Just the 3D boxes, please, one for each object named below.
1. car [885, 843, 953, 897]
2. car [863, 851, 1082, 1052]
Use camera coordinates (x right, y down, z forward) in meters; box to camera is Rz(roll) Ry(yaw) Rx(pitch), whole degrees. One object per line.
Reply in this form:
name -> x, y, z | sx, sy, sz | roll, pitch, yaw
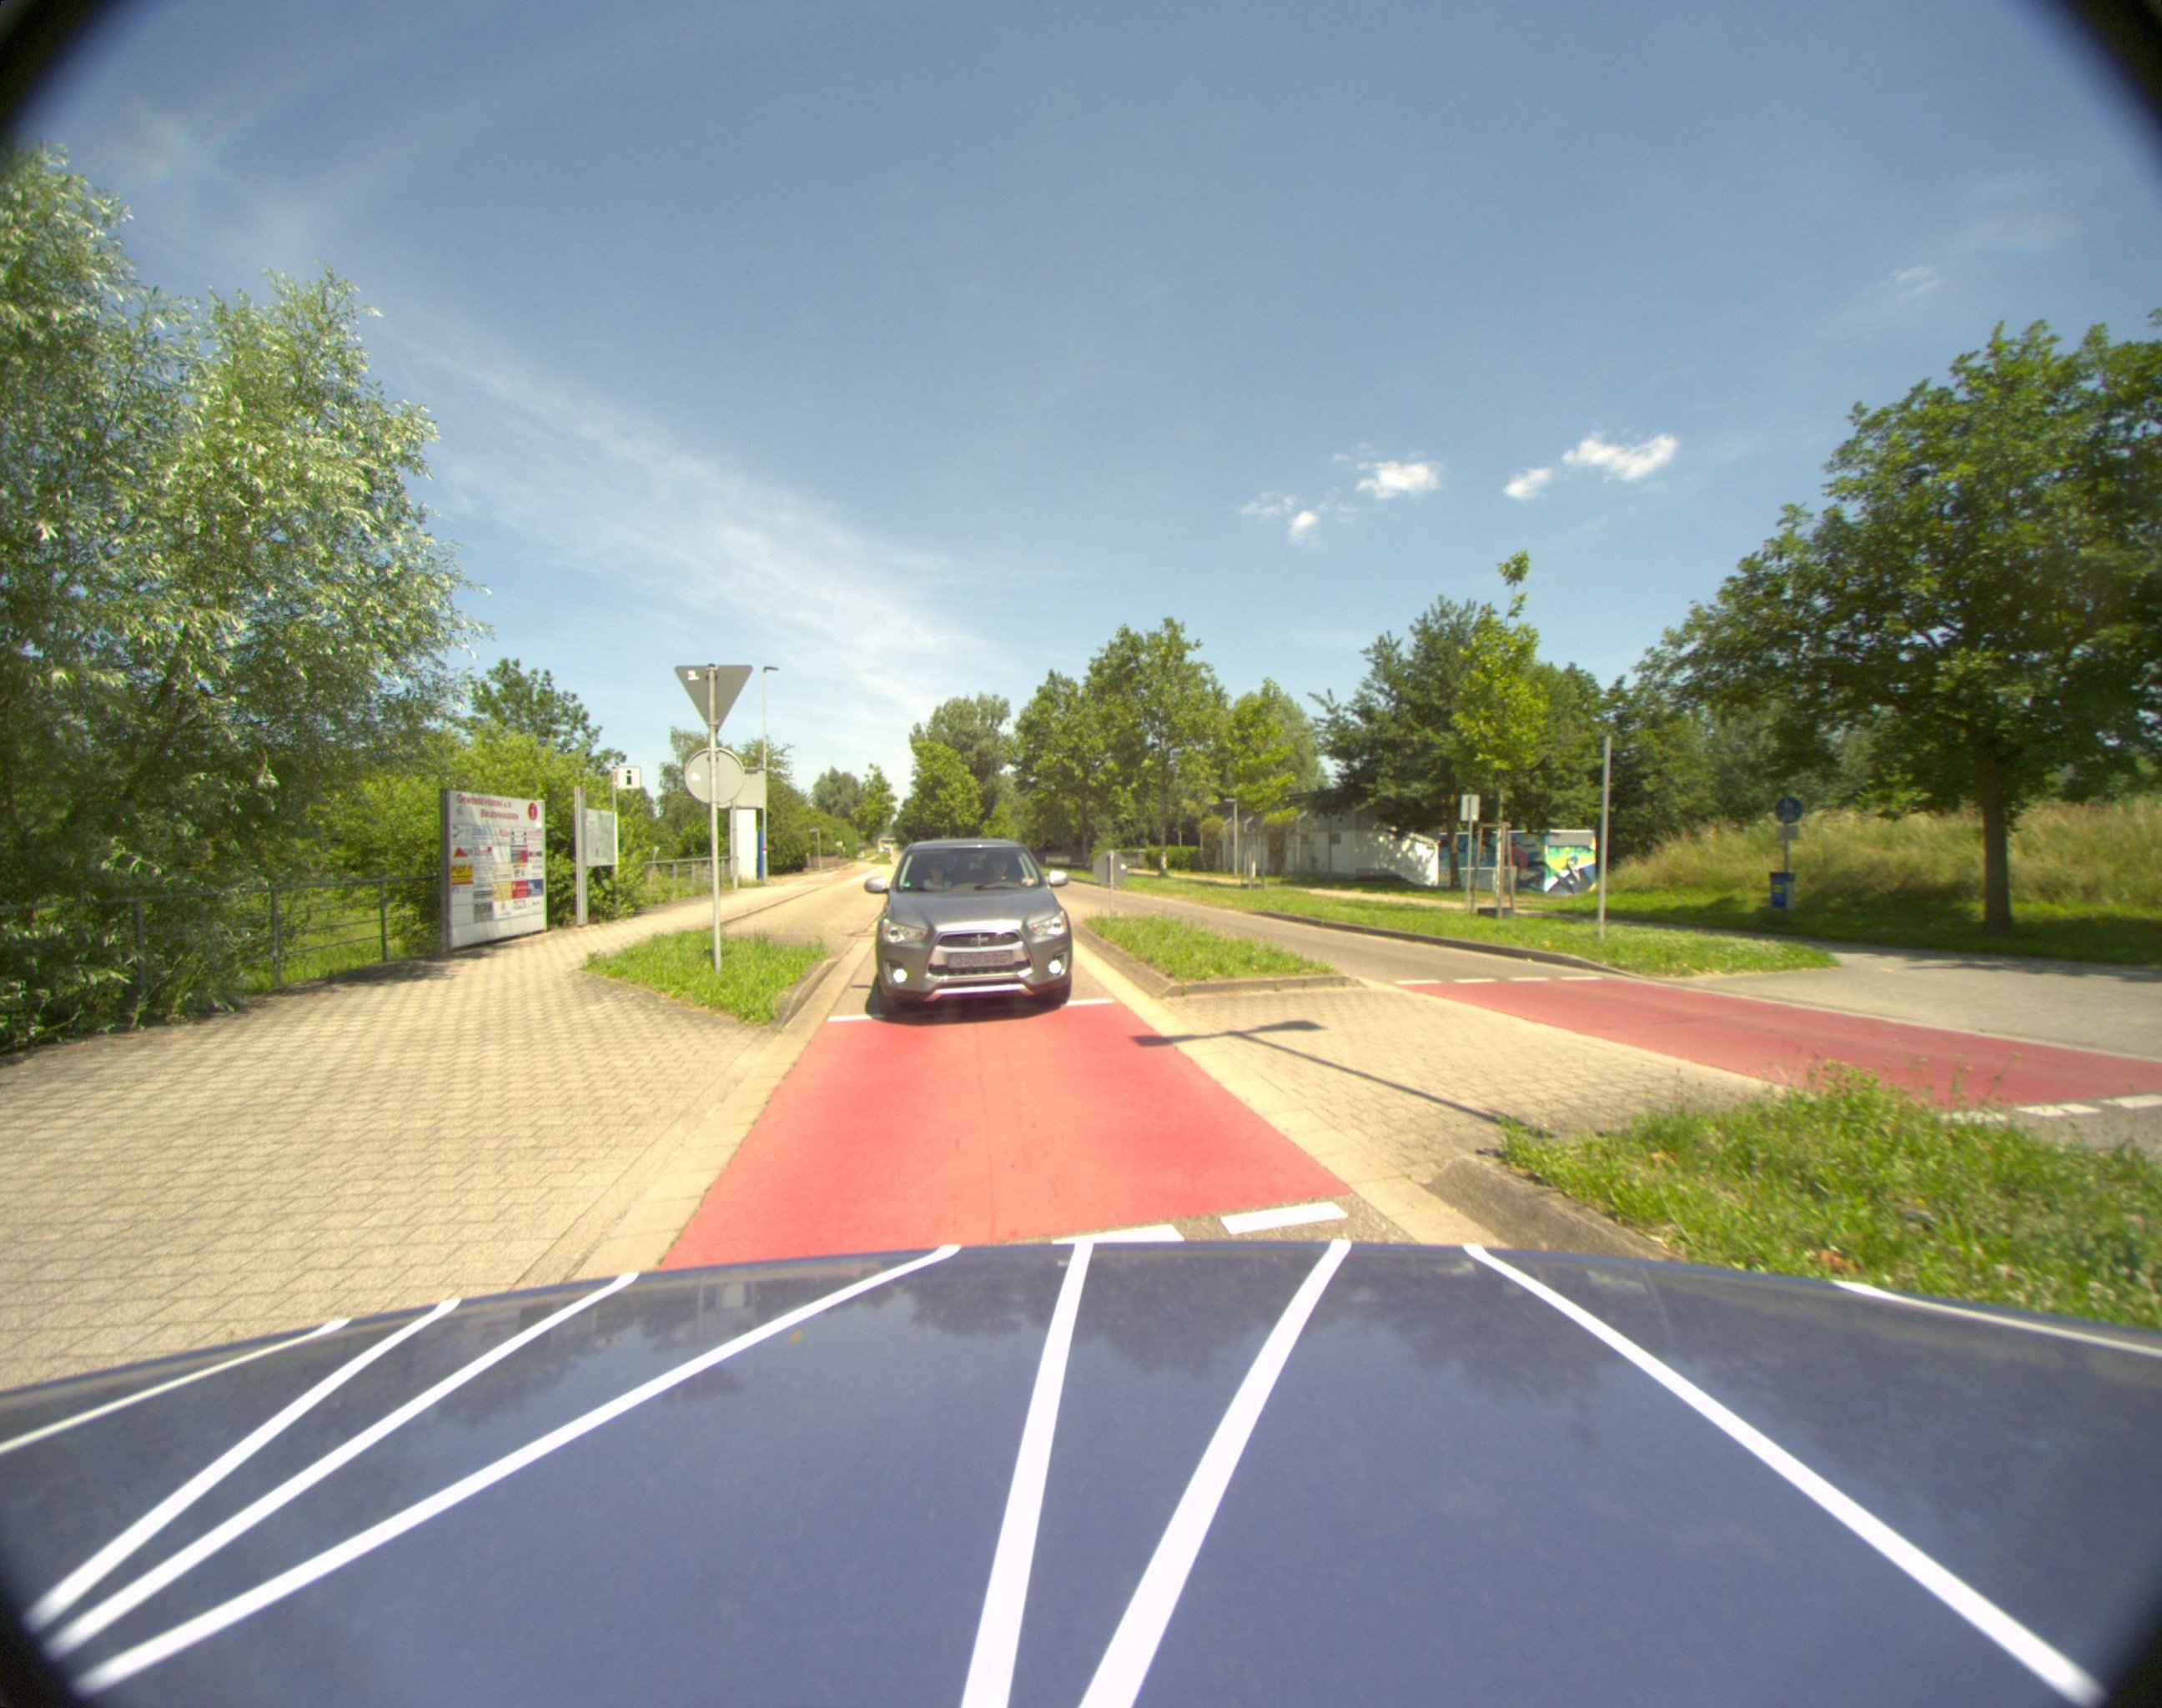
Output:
car -> -5.092, 0.456, 24.343 | 1.794, 1.531, 4.128 | -1, 1, -7
car -> -1.331, 0.769, 8.432 | 1.751, 1.525, 4.519 | -1, 1, -12
